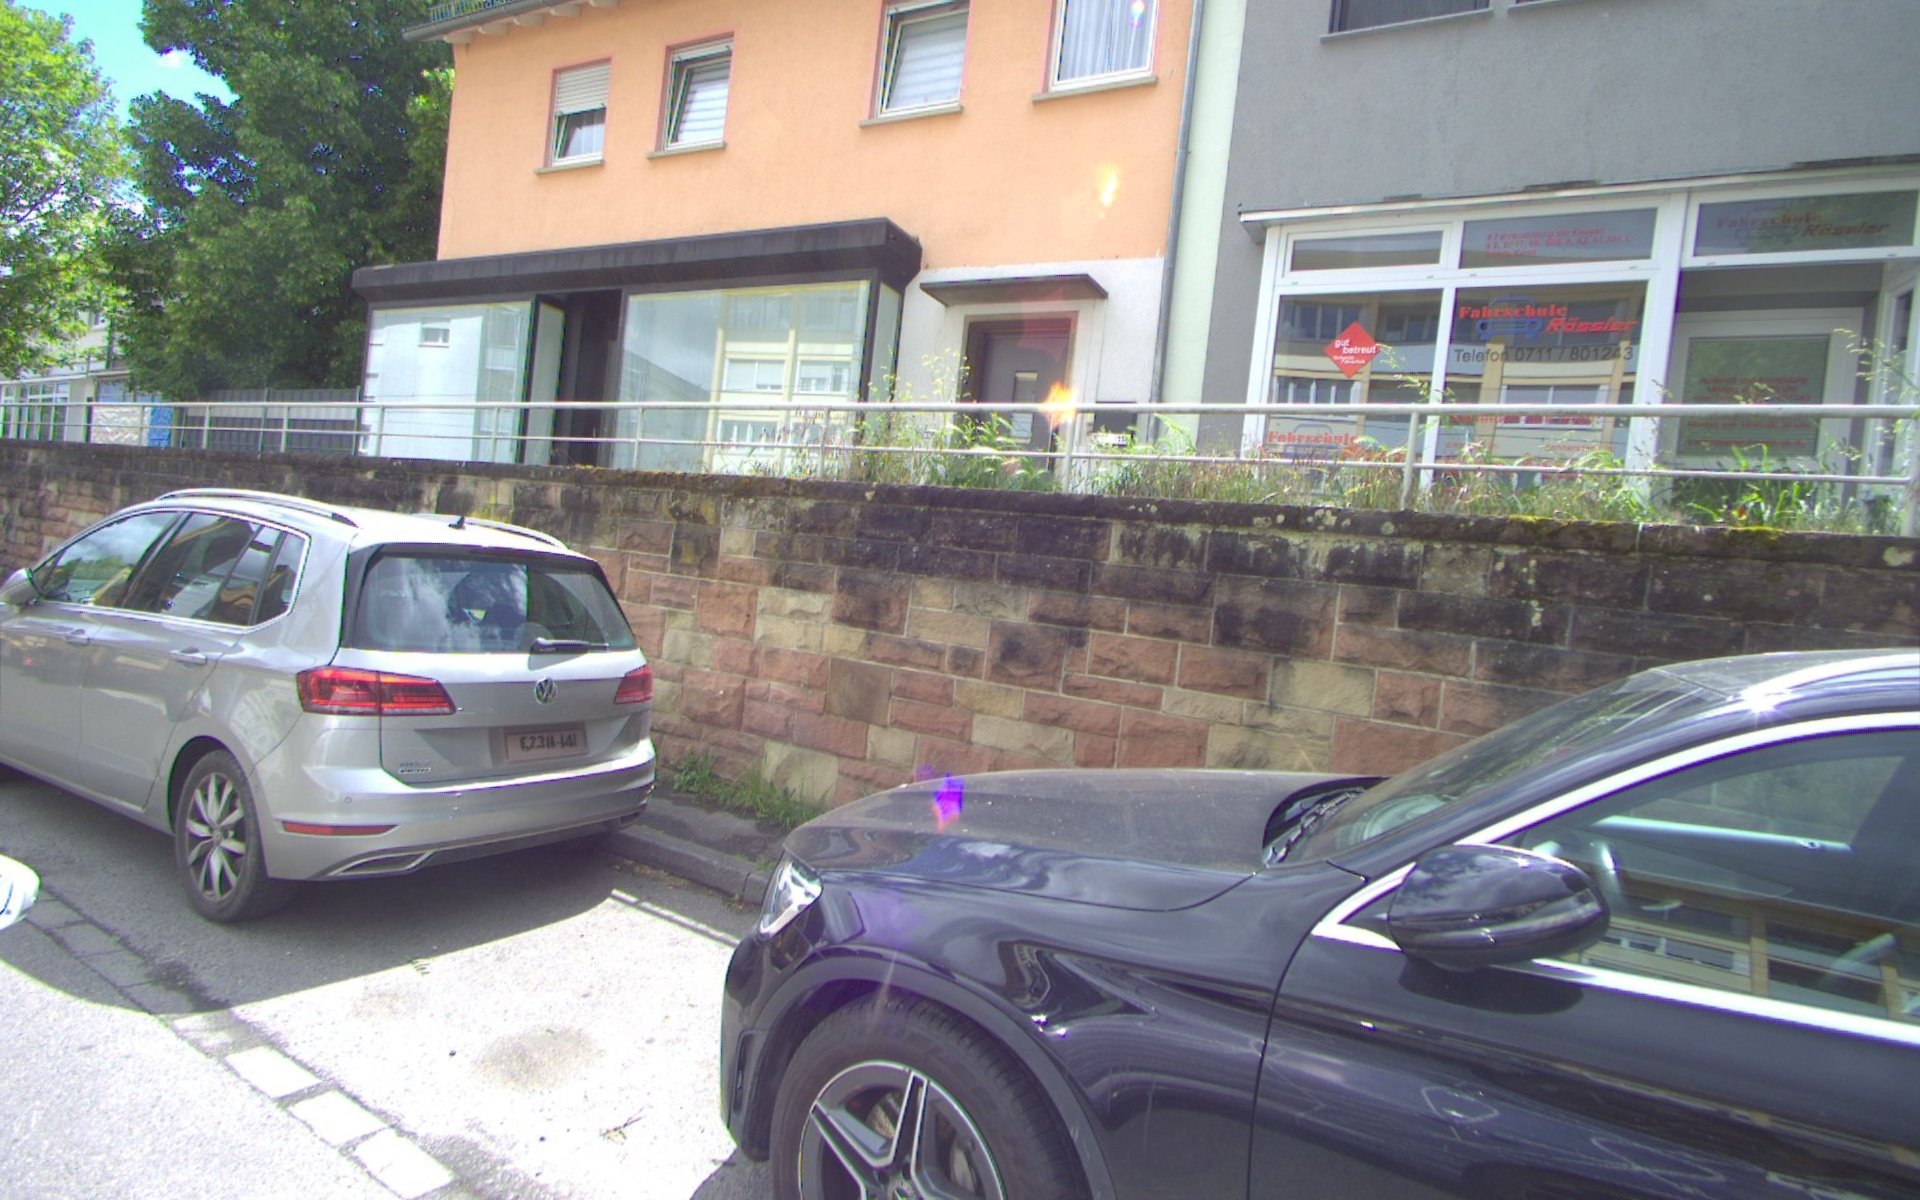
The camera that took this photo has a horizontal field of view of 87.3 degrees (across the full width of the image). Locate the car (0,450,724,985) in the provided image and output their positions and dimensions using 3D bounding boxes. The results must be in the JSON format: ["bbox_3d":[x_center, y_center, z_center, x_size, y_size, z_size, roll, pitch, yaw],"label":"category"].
[{"bbox_3d":[-3.417,0.248,5.033,4.177,1.638,1.791,7,1,31],"label":"car"}]

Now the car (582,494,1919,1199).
[{"bbox_3d":[1.518,0.833,1.933,4.373,1.639,1.791,7,2,31],"label":"car"}]
